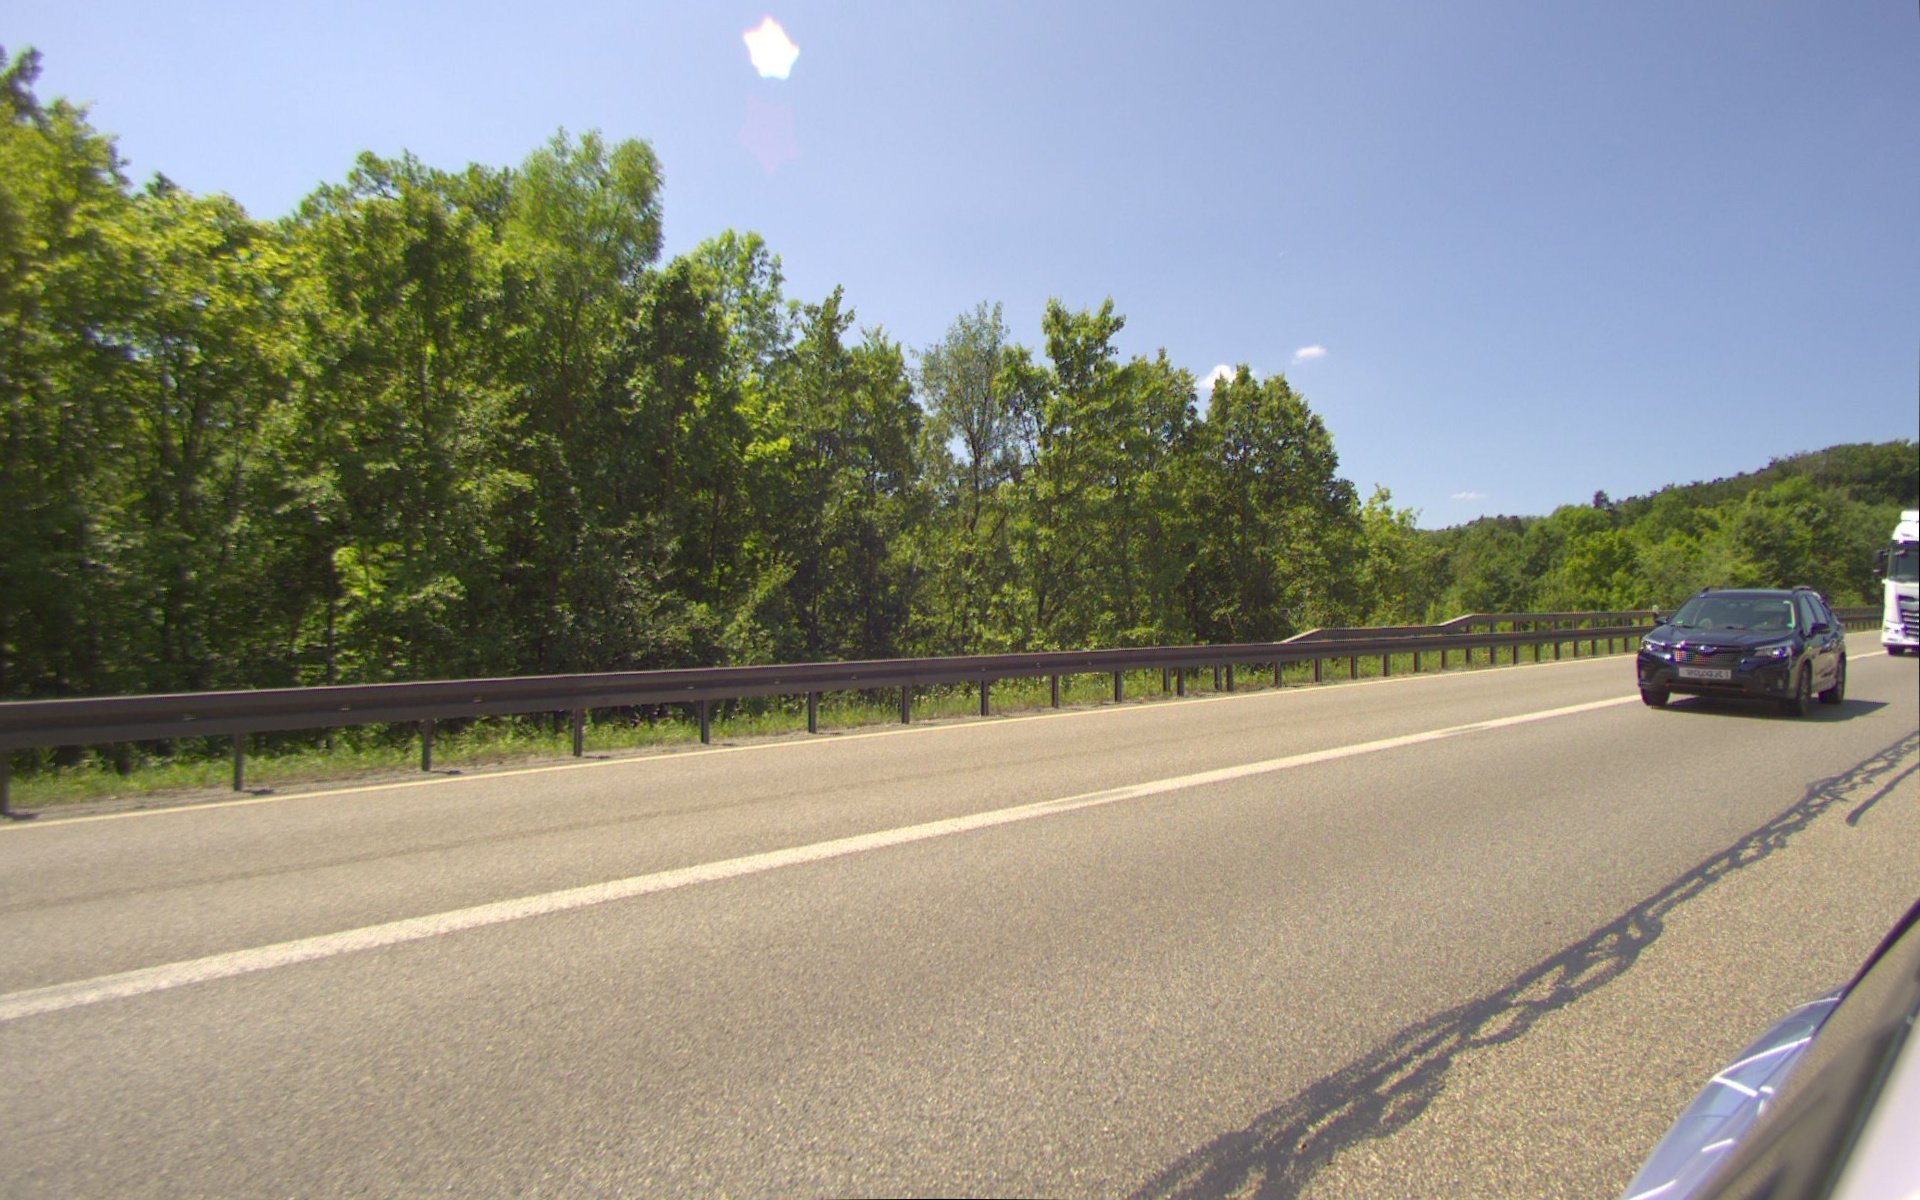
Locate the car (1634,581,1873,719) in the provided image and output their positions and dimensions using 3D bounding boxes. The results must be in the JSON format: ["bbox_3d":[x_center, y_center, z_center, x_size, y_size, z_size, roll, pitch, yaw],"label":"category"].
[{"bbox_3d":[11.415,0.582,14.476,4.128,1.688,1.816,-1,1,-39],"label":"car"}]

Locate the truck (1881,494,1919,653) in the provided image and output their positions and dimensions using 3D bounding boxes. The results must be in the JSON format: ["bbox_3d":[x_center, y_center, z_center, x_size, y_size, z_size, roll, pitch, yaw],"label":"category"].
[{"bbox_3d":[32.130,-0.790,31.438,15.976,4.220,2.789,-1,2,-39],"label":"truck"}]
